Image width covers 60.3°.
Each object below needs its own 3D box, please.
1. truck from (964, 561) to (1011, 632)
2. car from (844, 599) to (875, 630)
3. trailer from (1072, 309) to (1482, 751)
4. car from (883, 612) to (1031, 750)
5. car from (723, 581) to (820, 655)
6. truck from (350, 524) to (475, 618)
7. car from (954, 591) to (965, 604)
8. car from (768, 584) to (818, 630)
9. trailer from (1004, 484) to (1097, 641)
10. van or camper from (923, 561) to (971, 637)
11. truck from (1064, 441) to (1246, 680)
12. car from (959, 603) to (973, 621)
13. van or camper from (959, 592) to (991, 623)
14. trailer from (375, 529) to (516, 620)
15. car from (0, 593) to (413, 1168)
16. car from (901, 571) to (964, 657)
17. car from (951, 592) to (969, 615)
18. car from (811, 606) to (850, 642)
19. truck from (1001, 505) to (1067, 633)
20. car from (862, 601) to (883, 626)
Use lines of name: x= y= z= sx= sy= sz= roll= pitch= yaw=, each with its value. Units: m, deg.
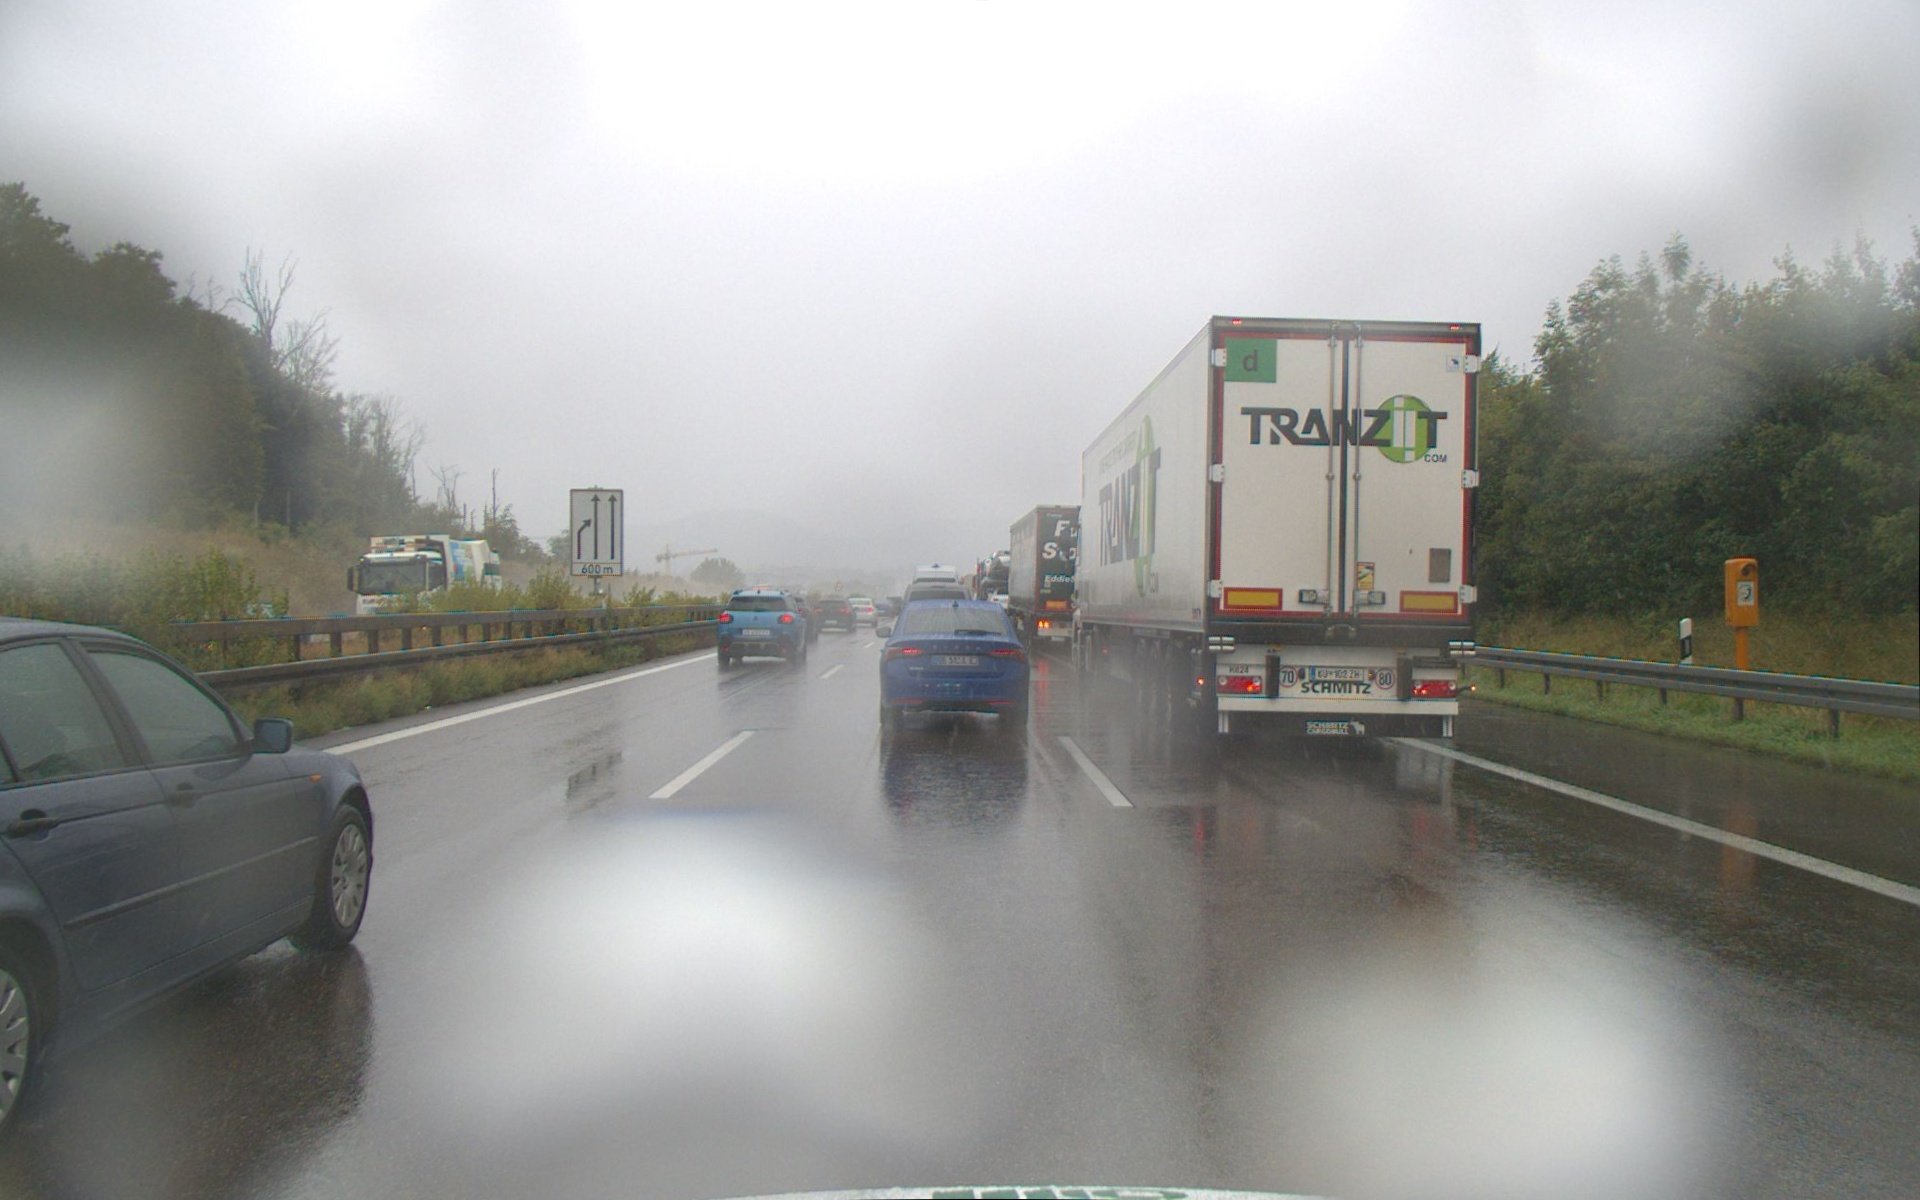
truck: x=1.369 y=-0.211 z=85.622 sx=1.953 sy=3.481 sz=8.029 roll=0 pitch=1 yaw=-2
car: x=-5.200 y=0.744 z=85.725 sx=1.410 sy=1.560 sz=3.321 roll=0 pitch=0 yaw=-1
trailer: x=3.442 y=-0.697 z=22.674 sx=2.577 sy=4.083 sz=14.626 roll=0 pitch=0 yaw=-1
car: x=-0.038 y=0.898 z=20.072 sx=1.602 sy=1.470 sz=4.000 roll=0 pitch=0 yaw=0
car: x=-4.135 y=0.384 z=36.857 sx=1.686 sy=1.550 sz=4.000 roll=0 pitch=0 yaw=0
truck: x=-17.334 y=-0.855 z=52.651 sx=2.431 sy=2.767 sz=4.527 roll=-1 pitch=-1 yaw=0
car: x=-0.036 y=-0.337 z=226.480 sx=1.419 sy=1.815 sz=3.408 roll=1 pitch=0 yaw=-1
car: x=-5.396 y=0.202 z=53.838 sx=1.331 sy=1.456 sz=3.363 roll=0 pitch=0 yaw=-1
trailer: x=2.604 y=-1.051 z=50.628 sx=2.005 sy=4.250 sz=11.446 roll=0 pitch=0 yaw=-1
van or camper: x=-0.532 y=-0.053 z=64.082 sx=1.761 sy=2.855 sz=4.767 roll=0 pitch=0 yaw=-1
truck: x=3.335 y=-0.660 z=29.368 sx=2.577 sy=3.894 sz=4.790 roll=0 pitch=0 yaw=-1
car: x=0.533 y=1.045 z=148.369 sx=1.223 sy=1.538 sz=3.107 roll=0 pitch=1 yaw=-1
van or camper: x=0.842 y=0.418 z=95.368 sx=1.736 sy=1.653 sz=4.483 roll=0 pitch=1 yaw=-1
trailer: x=-17.333 y=-0.773 z=56.222 sx=2.431 sy=2.767 sz=7.323 roll=-1 pitch=-1 yaw=0
car: x=-3.252 y=0.688 z=5.298 sx=1.683 sy=1.424 sz=4.228 roll=0 pitch=0 yaw=-2
car: x=-0.611 y=0.288 z=36.698 sx=1.309 sy=1.811 sz=3.321 roll=0 pitch=0 yaw=-1
car: x=-0.023 y=0.287 z=136.593 sx=1.419 sy=1.815 sz=3.408 roll=1 pitch=0 yaw=-1
car: x=-5.486 y=0.989 z=70.308 sx=1.410 sy=1.445 sz=3.321 roll=0 pitch=0 yaw=-1
truck: x=2.520 y=-1.042 z=57.125 sx=2.005 sy=4.266 sz=3.999 roll=0 pitch=0 yaw=-1
car: x=-6.589 y=0.986 z=124.473 sx=1.419 sy=1.815 sz=3.408 roll=1 pitch=0 yaw=-1
